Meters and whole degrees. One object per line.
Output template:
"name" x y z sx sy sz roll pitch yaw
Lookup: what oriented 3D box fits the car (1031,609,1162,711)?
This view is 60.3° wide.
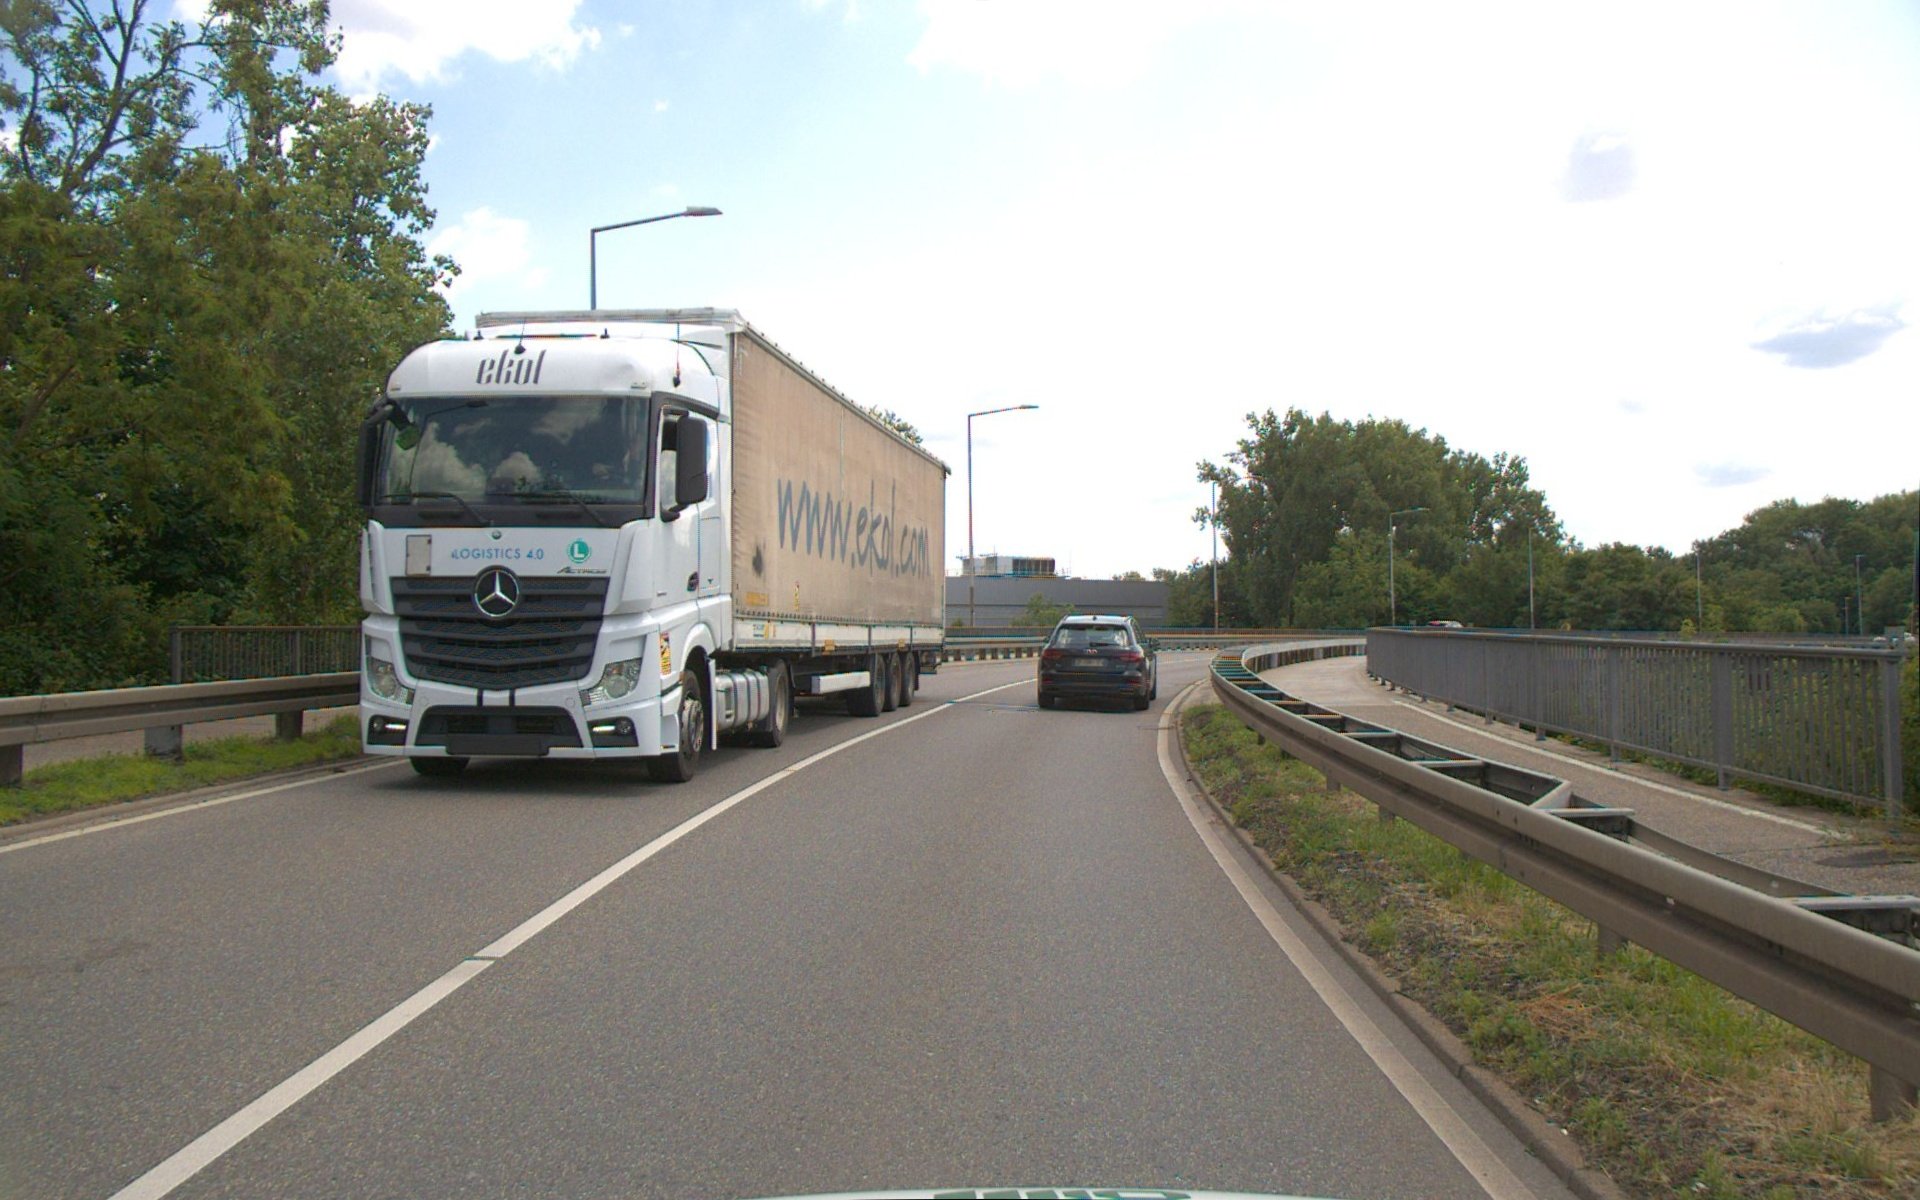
"car" 2.313 0.917 27.137 1.789 1.518 4.210 0 0 10

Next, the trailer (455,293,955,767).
"trailer" -2.406 -0.599 22.390 2.648 4.355 14.242 1 0 8

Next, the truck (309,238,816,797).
"truck" -3.294 -0.615 15.405 2.702 4.207 5.657 1 -1 7
